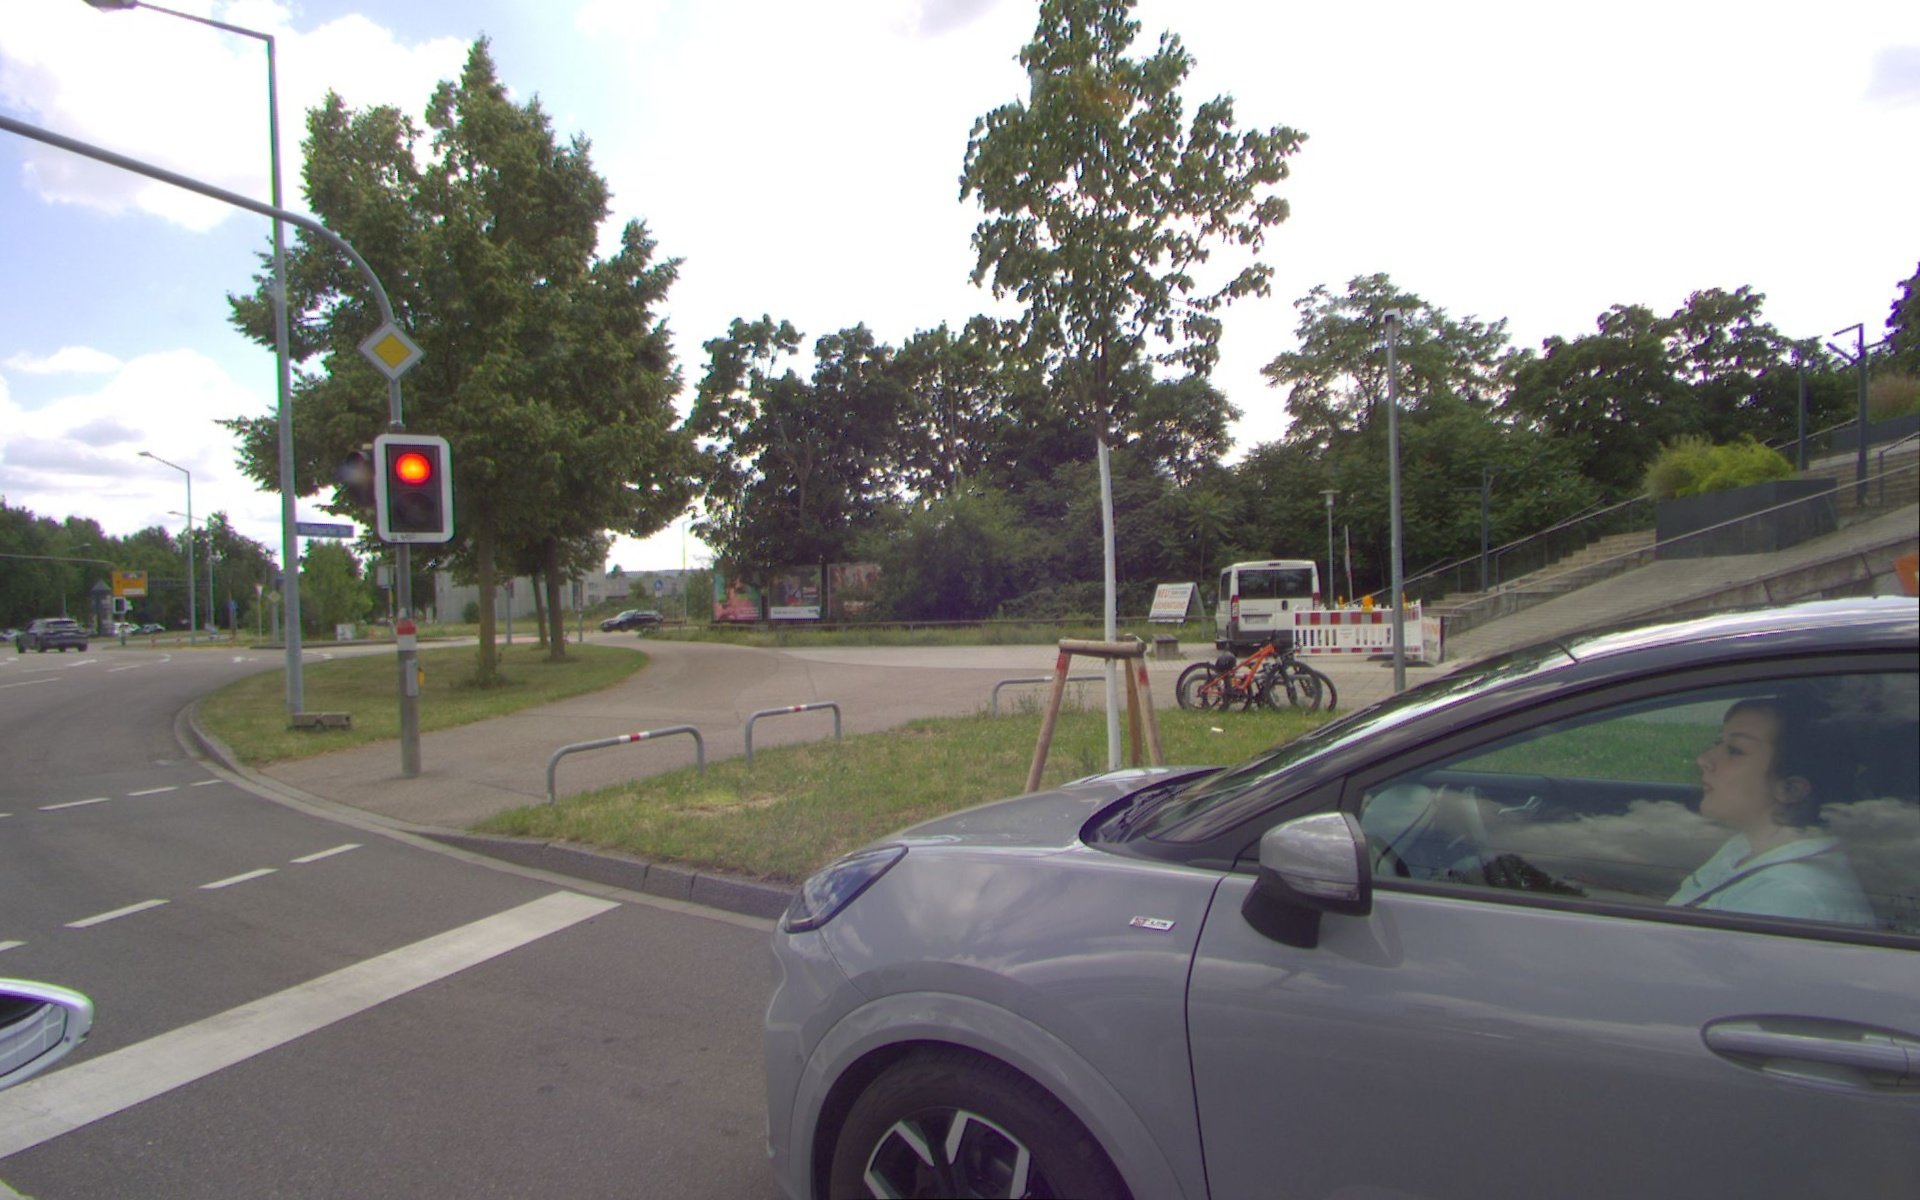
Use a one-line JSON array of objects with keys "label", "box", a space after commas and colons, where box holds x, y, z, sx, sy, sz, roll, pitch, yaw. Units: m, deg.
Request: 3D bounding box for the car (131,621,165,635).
[{"label": "car", "box": [-92.345, 3.176, 113.890, 1.814, 1.505, 3.859, 0, -2, -19]}]

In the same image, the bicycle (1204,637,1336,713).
[{"label": "bicycle", "box": [3.630, 0.861, 11.742, 1.449, 0.837, 0.357, -1, 1, 24]}]

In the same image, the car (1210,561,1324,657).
[{"label": "car", "box": [7.586, 0.226, 25.245, 2.108, 2.176, 5.149, 0, 0, 10]}]

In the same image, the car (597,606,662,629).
[{"label": "car", "box": [-22.027, 1.163, 66.842, 1.665, 1.482, 3.980, 0, -1, 31]}]

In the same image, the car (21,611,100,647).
[{"label": "car", "box": [-45.184, 1.461, 50.294, 4.251, 1.648, 1.987, -2, 1, 35]}]

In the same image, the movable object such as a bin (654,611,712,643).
[{"label": "movable object such as a bin", "box": [-34.764, 3.397, 125.907, 2.999, 3.901, 7.598, -1, -2, 24]}]

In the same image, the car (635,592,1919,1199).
[{"label": "car", "box": [1.416, 0.744, 1.988, 4.032, 1.490, 1.667, -1, 0, 31]}]

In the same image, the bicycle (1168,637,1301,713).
[{"label": "bicycle", "box": [3.187, 0.858, 11.658, 1.449, 0.837, 0.357, -1, 1, 24]}]

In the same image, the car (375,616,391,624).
[{"label": "car", "box": [-109.651, 3.782, 190.291, 1.814, 1.506, 3.857, -1, 0, -19]}]
